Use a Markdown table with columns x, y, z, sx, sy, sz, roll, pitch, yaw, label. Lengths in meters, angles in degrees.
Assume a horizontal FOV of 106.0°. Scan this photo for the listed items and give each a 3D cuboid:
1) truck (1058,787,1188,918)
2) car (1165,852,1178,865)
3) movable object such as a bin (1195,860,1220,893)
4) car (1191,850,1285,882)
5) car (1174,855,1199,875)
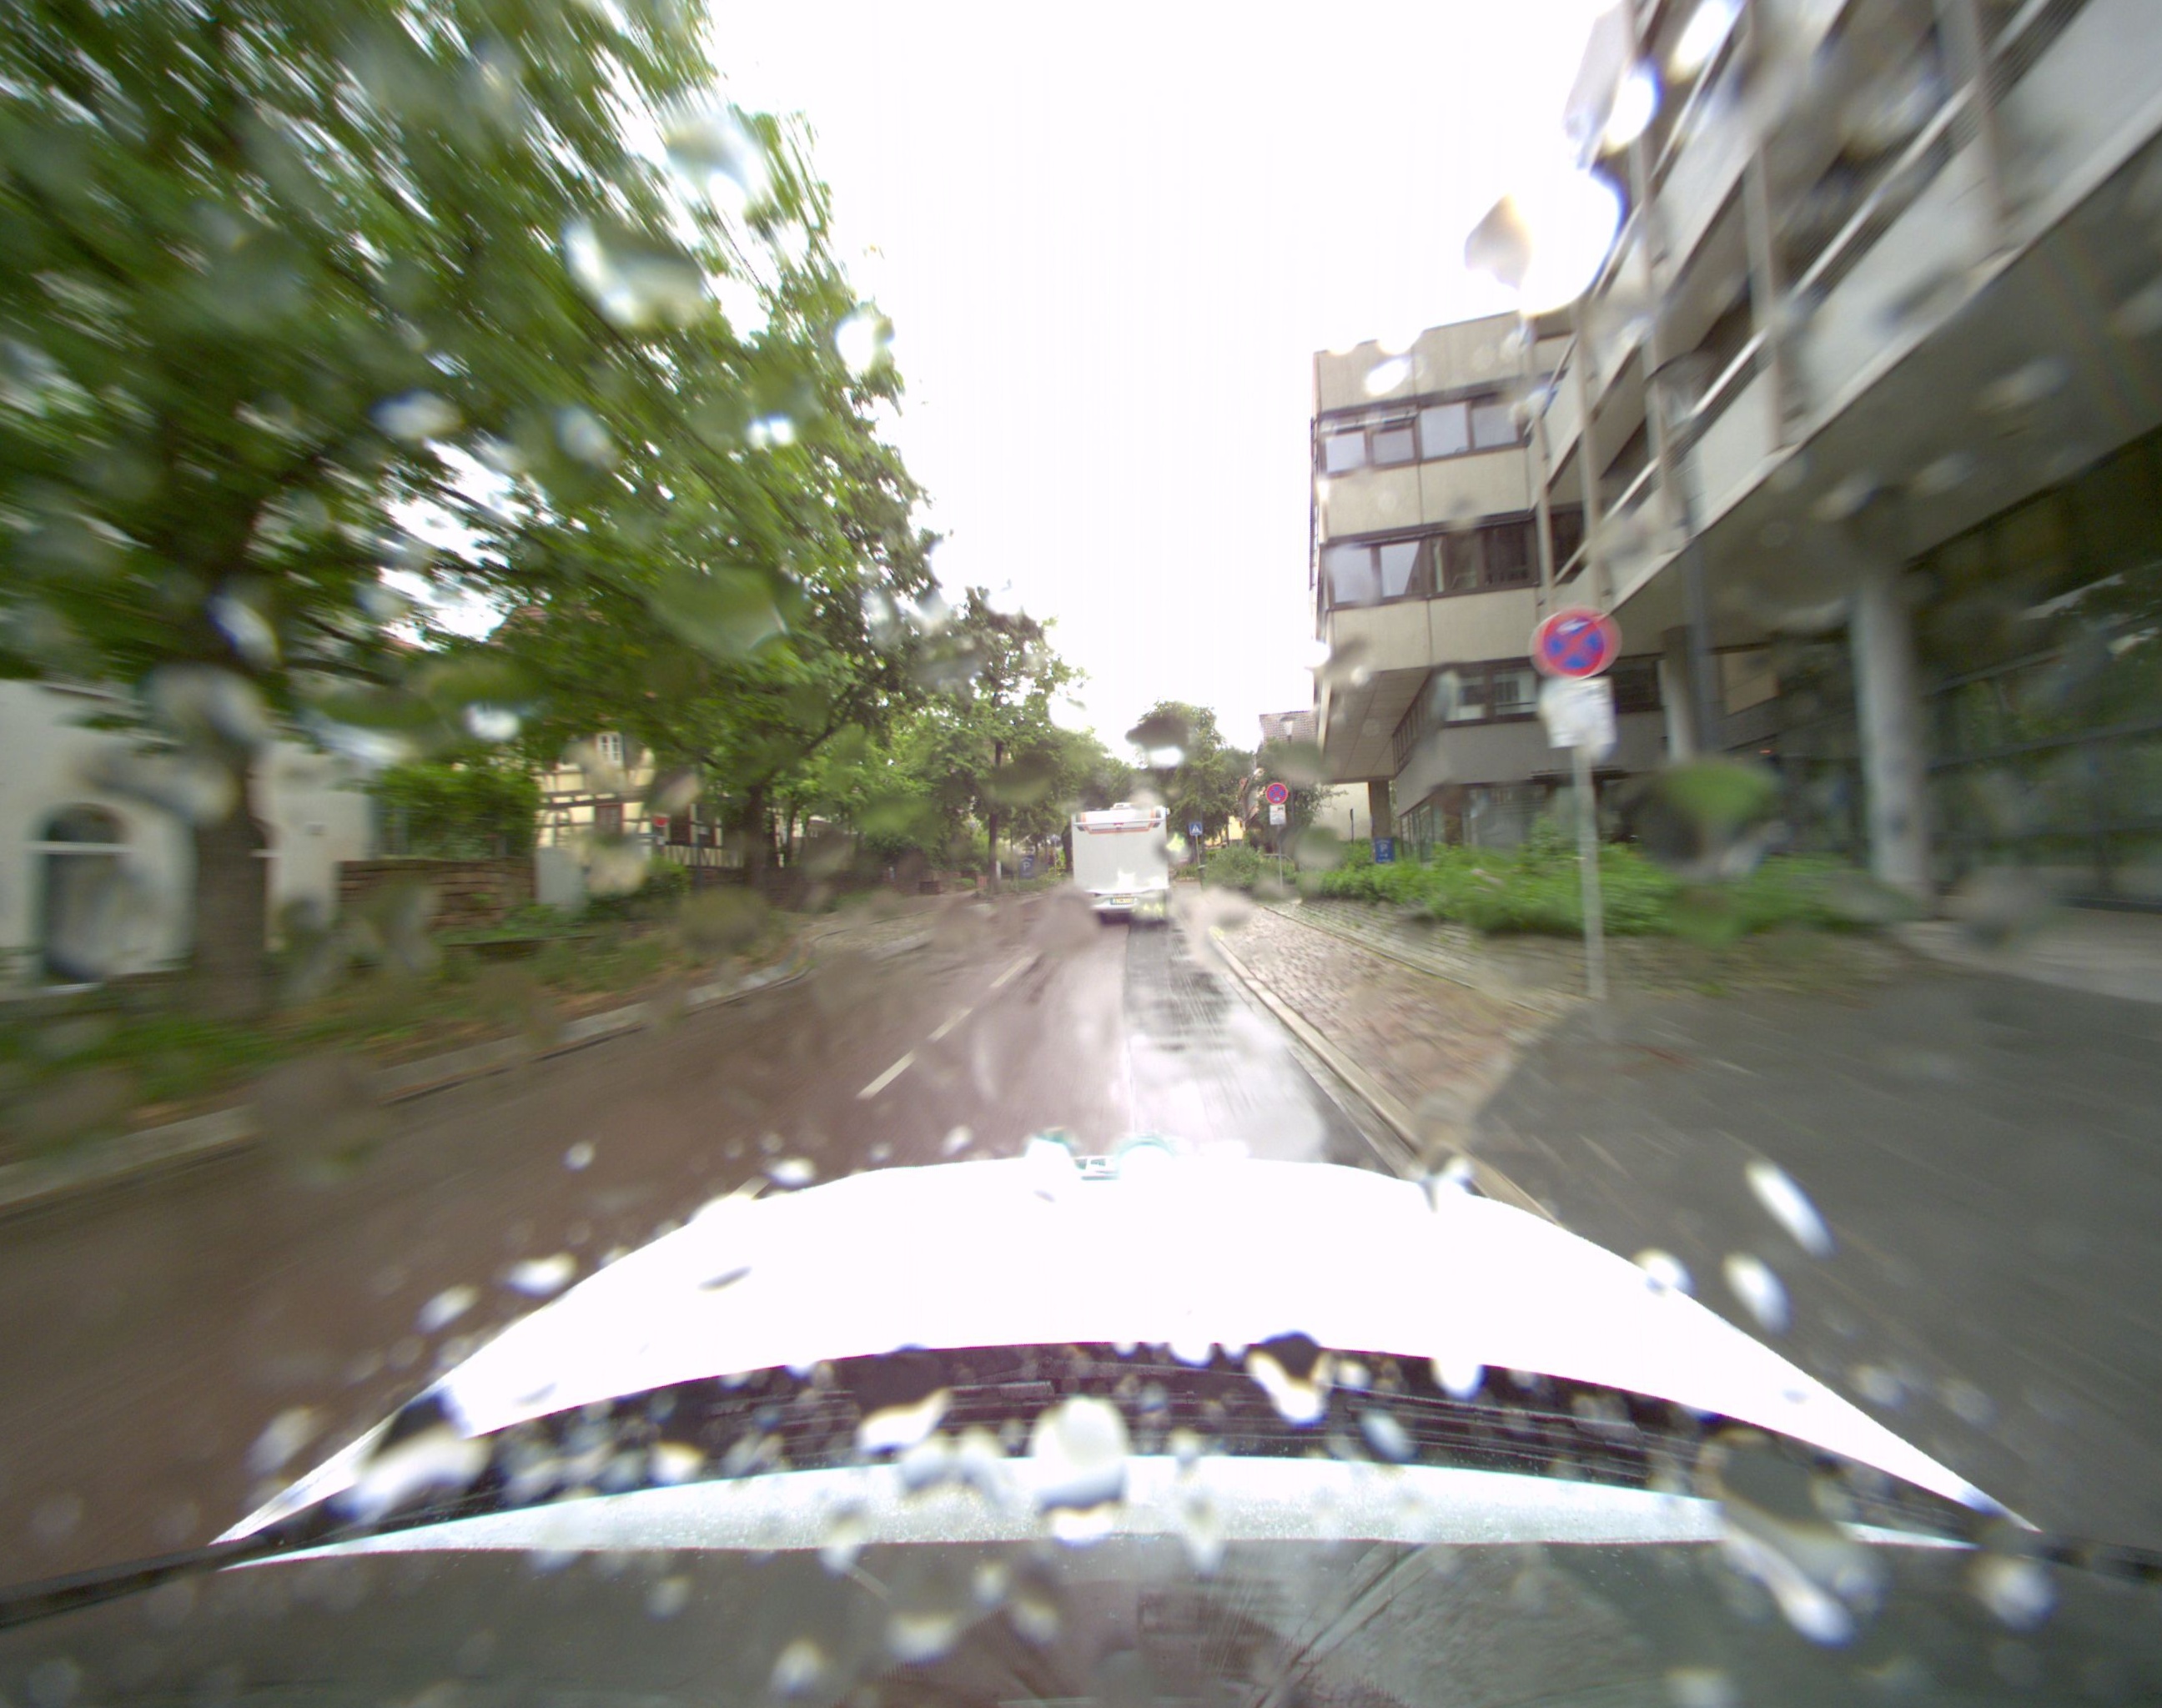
| x | y | z | sx | sy | sz | roll | pitch | yaw | label |
| --- | --- | --- | --- | --- | --- | --- | --- | --- | --- |
| 1.249 | 0.056 | 21.531 | 2.792 | 2.797 | 6.116 | -4 | -2 | 6 | truck |
| 11.929 | 0.628 | 106.991 | 1.640 | 1.542 | 3.537 | -4 | -2 | 6 | car |
| 4.569 | 0.812 | 29.337 | 0.697 | 1.124 | 0.574 | -4 | -2 | 21 | movable object such as a bin |
| 7.564 | 0.588 | 39.536 | 4.263 | 1.417 | 1.843 | -2 | 0 | 5 | car |
| 8.734 | 0.884 | 67.160 | 1.844 | 1.472 | 4.376 | -2 | 0 | 9 | car |
